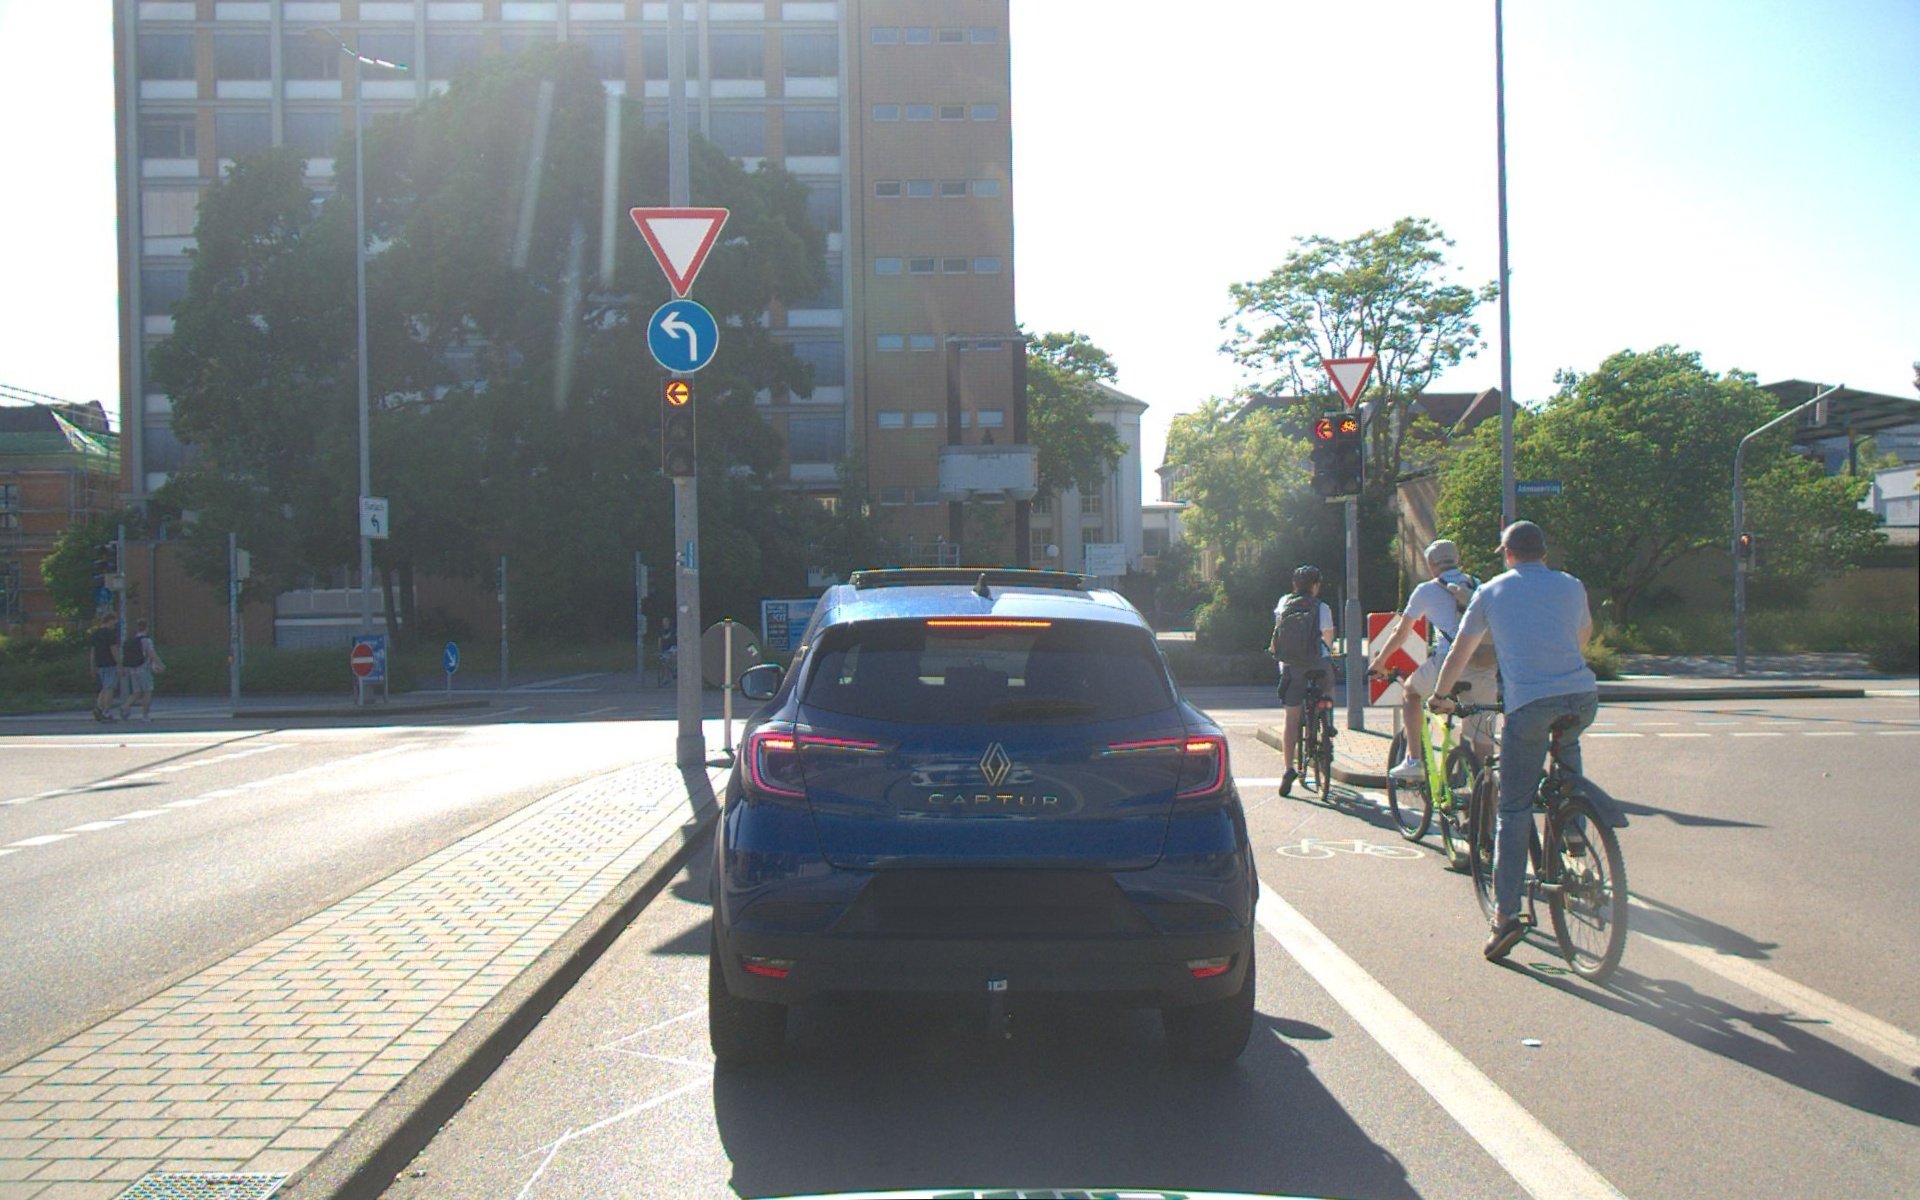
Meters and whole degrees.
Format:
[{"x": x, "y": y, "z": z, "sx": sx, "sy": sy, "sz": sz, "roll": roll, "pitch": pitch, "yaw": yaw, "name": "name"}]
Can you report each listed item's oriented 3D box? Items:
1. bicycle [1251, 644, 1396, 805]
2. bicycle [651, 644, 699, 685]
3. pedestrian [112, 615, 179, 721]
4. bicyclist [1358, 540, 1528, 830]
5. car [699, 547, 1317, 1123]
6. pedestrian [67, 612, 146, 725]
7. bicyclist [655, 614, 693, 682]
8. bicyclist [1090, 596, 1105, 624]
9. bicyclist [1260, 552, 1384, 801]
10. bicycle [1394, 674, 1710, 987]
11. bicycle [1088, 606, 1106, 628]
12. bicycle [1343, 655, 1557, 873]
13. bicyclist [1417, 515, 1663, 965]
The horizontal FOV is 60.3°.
[{"x": 2.778, "y": 0.921, "z": 12.838, "sx": 0.675, "sy": 1.108, "sz": 1.922, "roll": 0, "pitch": 0, "yaw": -1, "name": "bicycle"}, {"x": -7.530, "y": 1.698, "z": 43.765, "sx": 0.739, "sy": 1.002, "sz": 2.095, "roll": -1, "pitch": 0, "yaw": 5, "name": "bicycle"}, {"x": -13.874, "y": 1.147, "z": 28.190, "sx": 0.666, "sy": 1.761, "sz": 0.761, "roll": -1, "pitch": 0, "yaw": 13, "name": "pedestrian"}, {"x": 2.844, "y": 0.475, "z": 9.836, "sx": 0.664, "sy": 1.622, "sz": 1.142, "roll": 0, "pitch": 0, "yaw": -1, "name": "bicyclist"}, {"x": 0.057, "y": 0.663, "z": 6.640, "sx": 1.753, "sy": 1.613, "sz": 3.912, "roll": 0, "pitch": 0, "yaw": -3, "name": "car"}, {"x": -14.721, "y": 1.174, "z": 28.544, "sx": 0.796, "sy": 1.895, "sz": 0.910, "roll": -1, "pitch": 0, "yaw": 13, "name": "pedestrian"}, {"x": -7.548, "y": 1.256, "z": 43.662, "sx": 0.739, "sy": 1.746, "sz": 0.999, "roll": -1, "pitch": 0, "yaw": 5, "name": "bicyclist"}, {"x": 7.372, "y": 0.532, "z": 88.708, "sx": 0.680, "sy": 1.507, "sz": 0.717, "roll": -1, "pitch": 0, "yaw": -1, "name": "bicyclist"}, {"x": 2.754, "y": 0.560, "z": 12.676, "sx": 0.685, "sy": 1.822, "sz": 1.142, "roll": 0, "pitch": 0, "yaw": -1, "name": "bicyclist"}, {"x": 2.504, "y": 0.919, "z": 7.256, "sx": 0.675, "sy": 1.108, "sz": 1.922, "roll": 0, "pitch": 0, "yaw": -1, "name": "bicycle"}, {"x": 7.375, "y": 0.921, "z": 88.868, "sx": 0.680, "sy": 1.160, "sz": 2.440, "roll": -1, "pitch": 0, "yaw": -1, "name": "bicycle"}, {"x": 2.846, "y": 0.910, "z": 9.816, "sx": 0.675, "sy": 1.108, "sz": 1.922, "roll": 0, "pitch": 0, "yaw": -1, "name": "bicycle"}, {"x": 2.507, "y": 0.568, "z": 7.275, "sx": 0.669, "sy": 1.822, "sz": 1.142, "roll": 0, "pitch": 0, "yaw": -1, "name": "bicyclist"}]
